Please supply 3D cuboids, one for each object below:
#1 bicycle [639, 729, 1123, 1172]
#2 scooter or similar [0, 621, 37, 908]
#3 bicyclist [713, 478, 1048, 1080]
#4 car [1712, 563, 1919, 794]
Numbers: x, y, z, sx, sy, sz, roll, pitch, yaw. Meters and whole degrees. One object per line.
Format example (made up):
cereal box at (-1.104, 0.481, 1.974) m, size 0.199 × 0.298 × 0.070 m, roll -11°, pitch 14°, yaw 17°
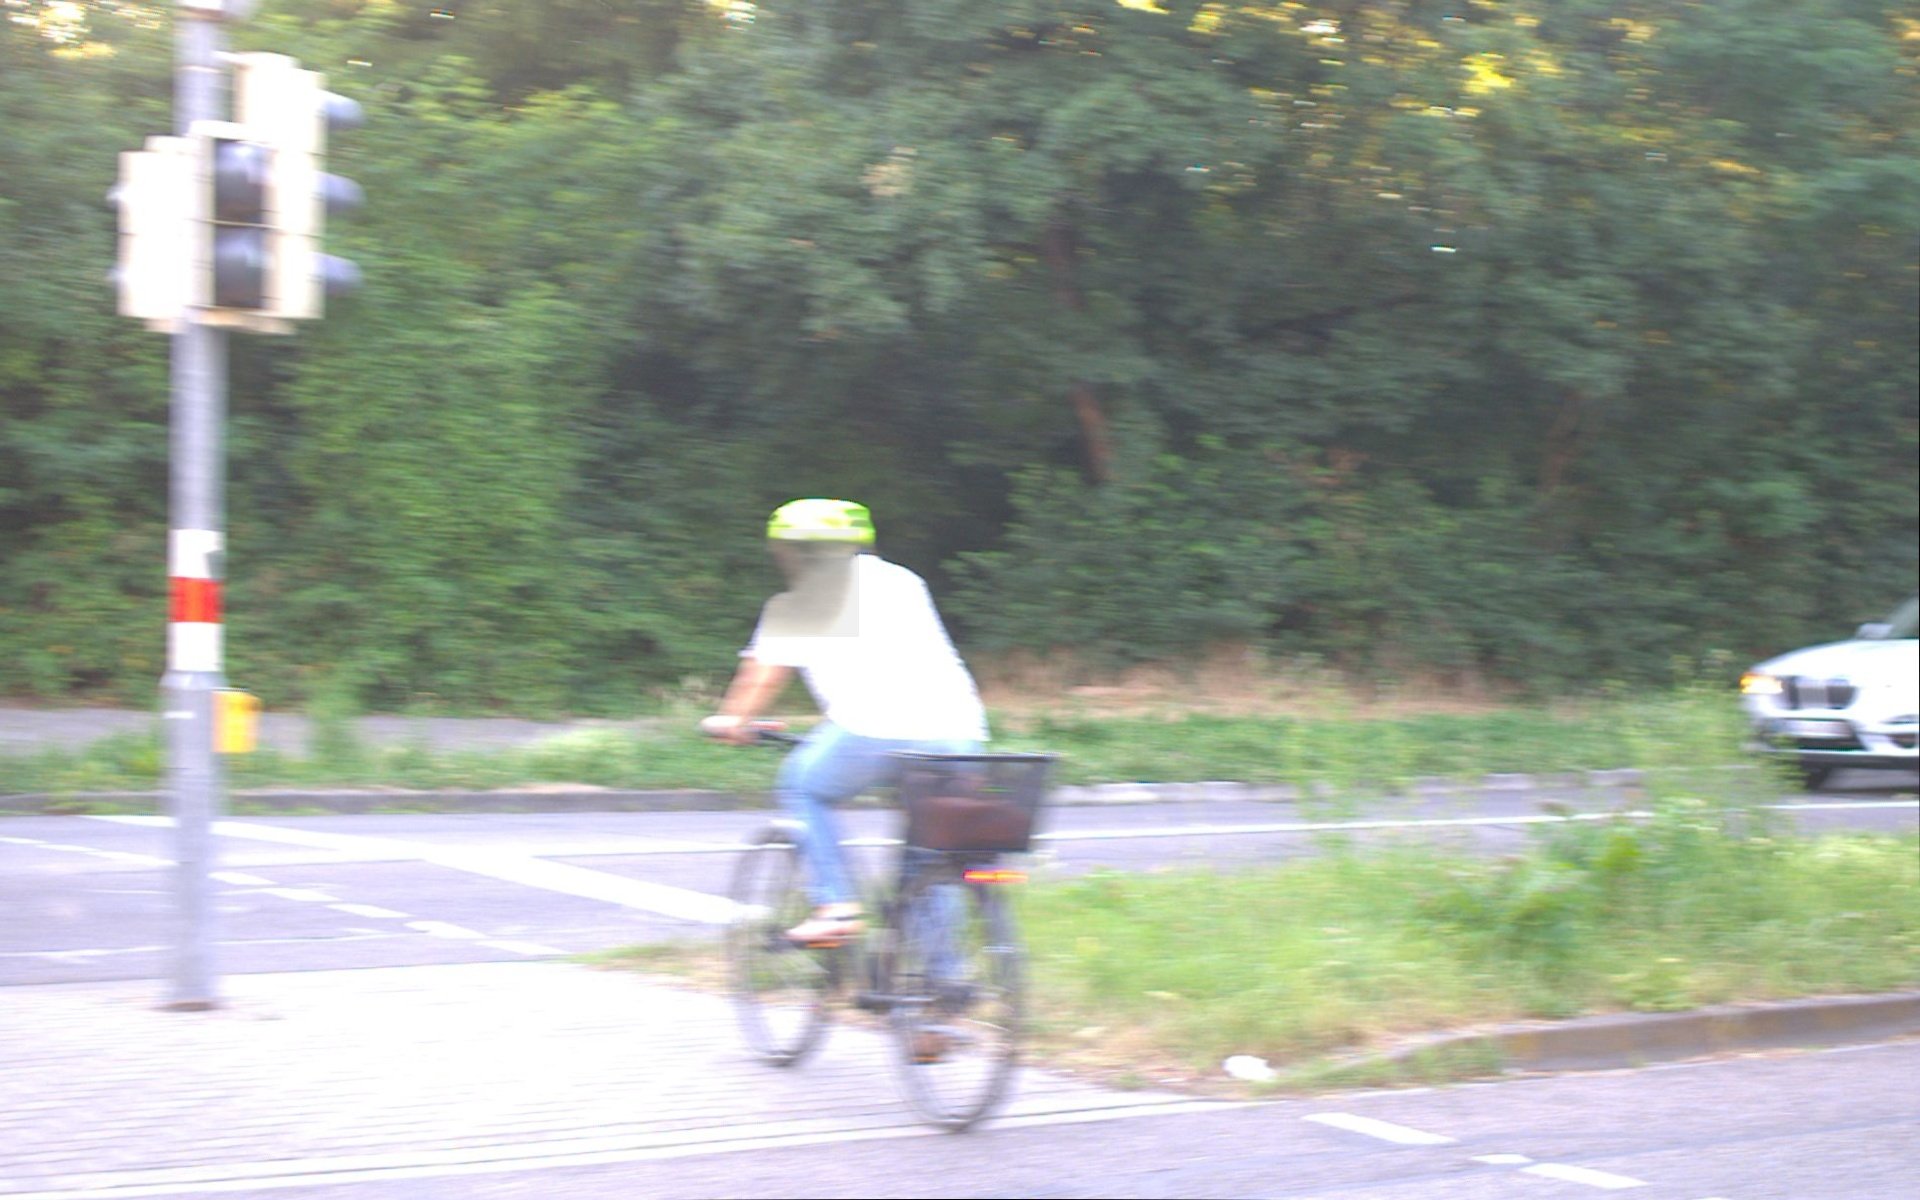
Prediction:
bicycle at (-0.265, 0.911, 9.513) m, size 0.563 × 1.011 × 1.802 m, roll 0°, pitch 1°, yaw -29°
scooter or similar at (-4.490, 0.676, 14.774) m, size 0.562 × 1.185 × 1.422 m, roll 1°, pitch 0°, yaw -34°
bicyclist at (-0.232, 0.460, 9.456) m, size 0.554 × 1.564 × 0.899 m, roll 0°, pitch 1°, yaw -29°
car at (8.041, 0.586, 26.007) m, size 4.625 × 1.608 × 1.827 m, roll 1°, pitch -2°, yaw -32°
